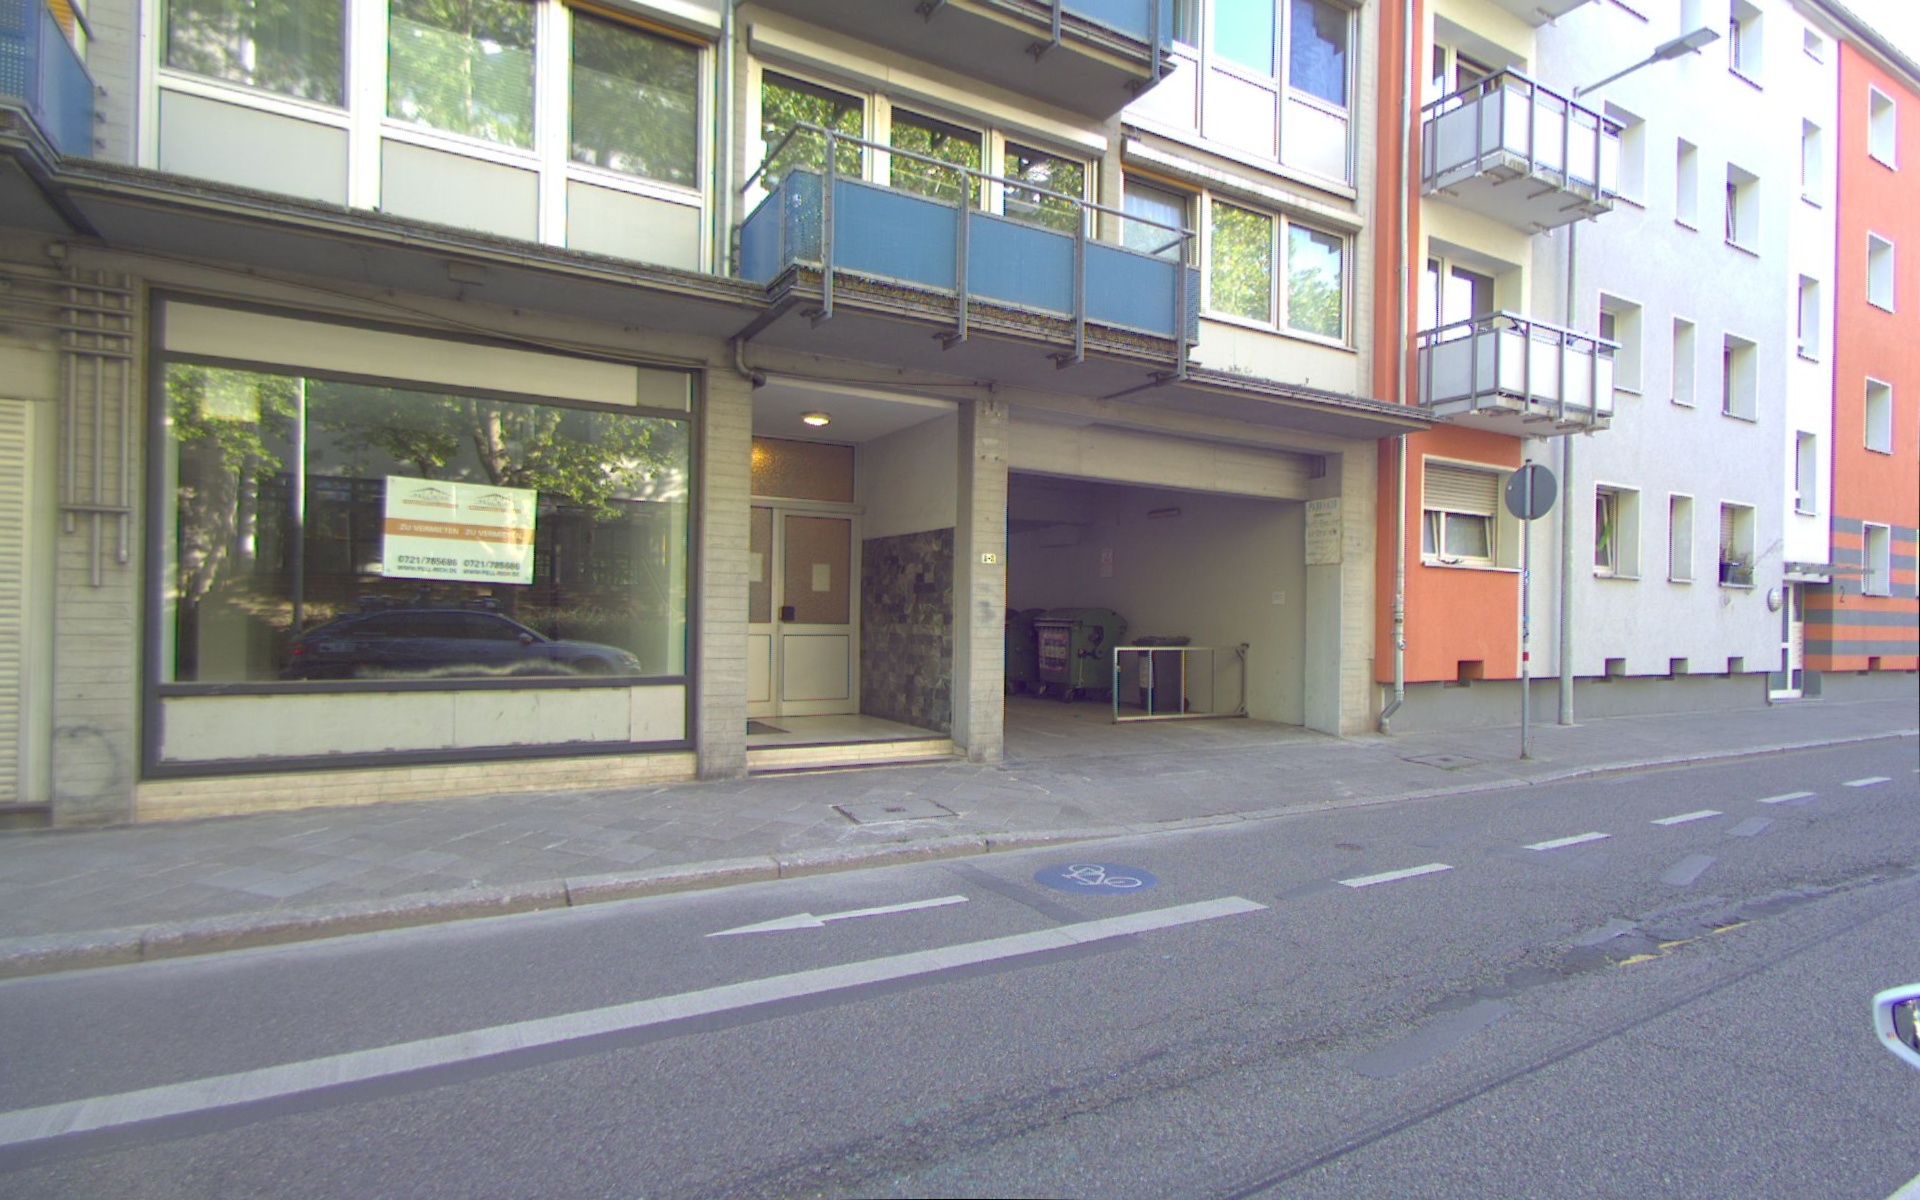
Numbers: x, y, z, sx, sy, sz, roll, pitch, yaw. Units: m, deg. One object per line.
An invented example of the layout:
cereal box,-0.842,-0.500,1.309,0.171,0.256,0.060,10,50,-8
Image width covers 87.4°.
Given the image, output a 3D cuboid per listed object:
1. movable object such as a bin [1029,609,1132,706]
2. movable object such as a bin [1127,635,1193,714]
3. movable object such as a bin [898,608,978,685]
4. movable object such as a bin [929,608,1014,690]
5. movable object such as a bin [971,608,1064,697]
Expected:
movable object such as a bin,1.884,0.876,15.809,1.116,1.444,1.201,1,0,-30
movable object such as a bin,2.881,1.058,14.499,0.667,1.079,0.639,1,0,-30
movable object such as a bin,-0.446,0.885,19.615,1.116,1.444,1.201,1,0,-30
movable object such as a bin,0.202,0.878,18.466,1.116,1.444,1.201,1,0,-30
movable object such as a bin,0.972,0.871,17.168,1.116,1.444,1.201,1,0,-30
